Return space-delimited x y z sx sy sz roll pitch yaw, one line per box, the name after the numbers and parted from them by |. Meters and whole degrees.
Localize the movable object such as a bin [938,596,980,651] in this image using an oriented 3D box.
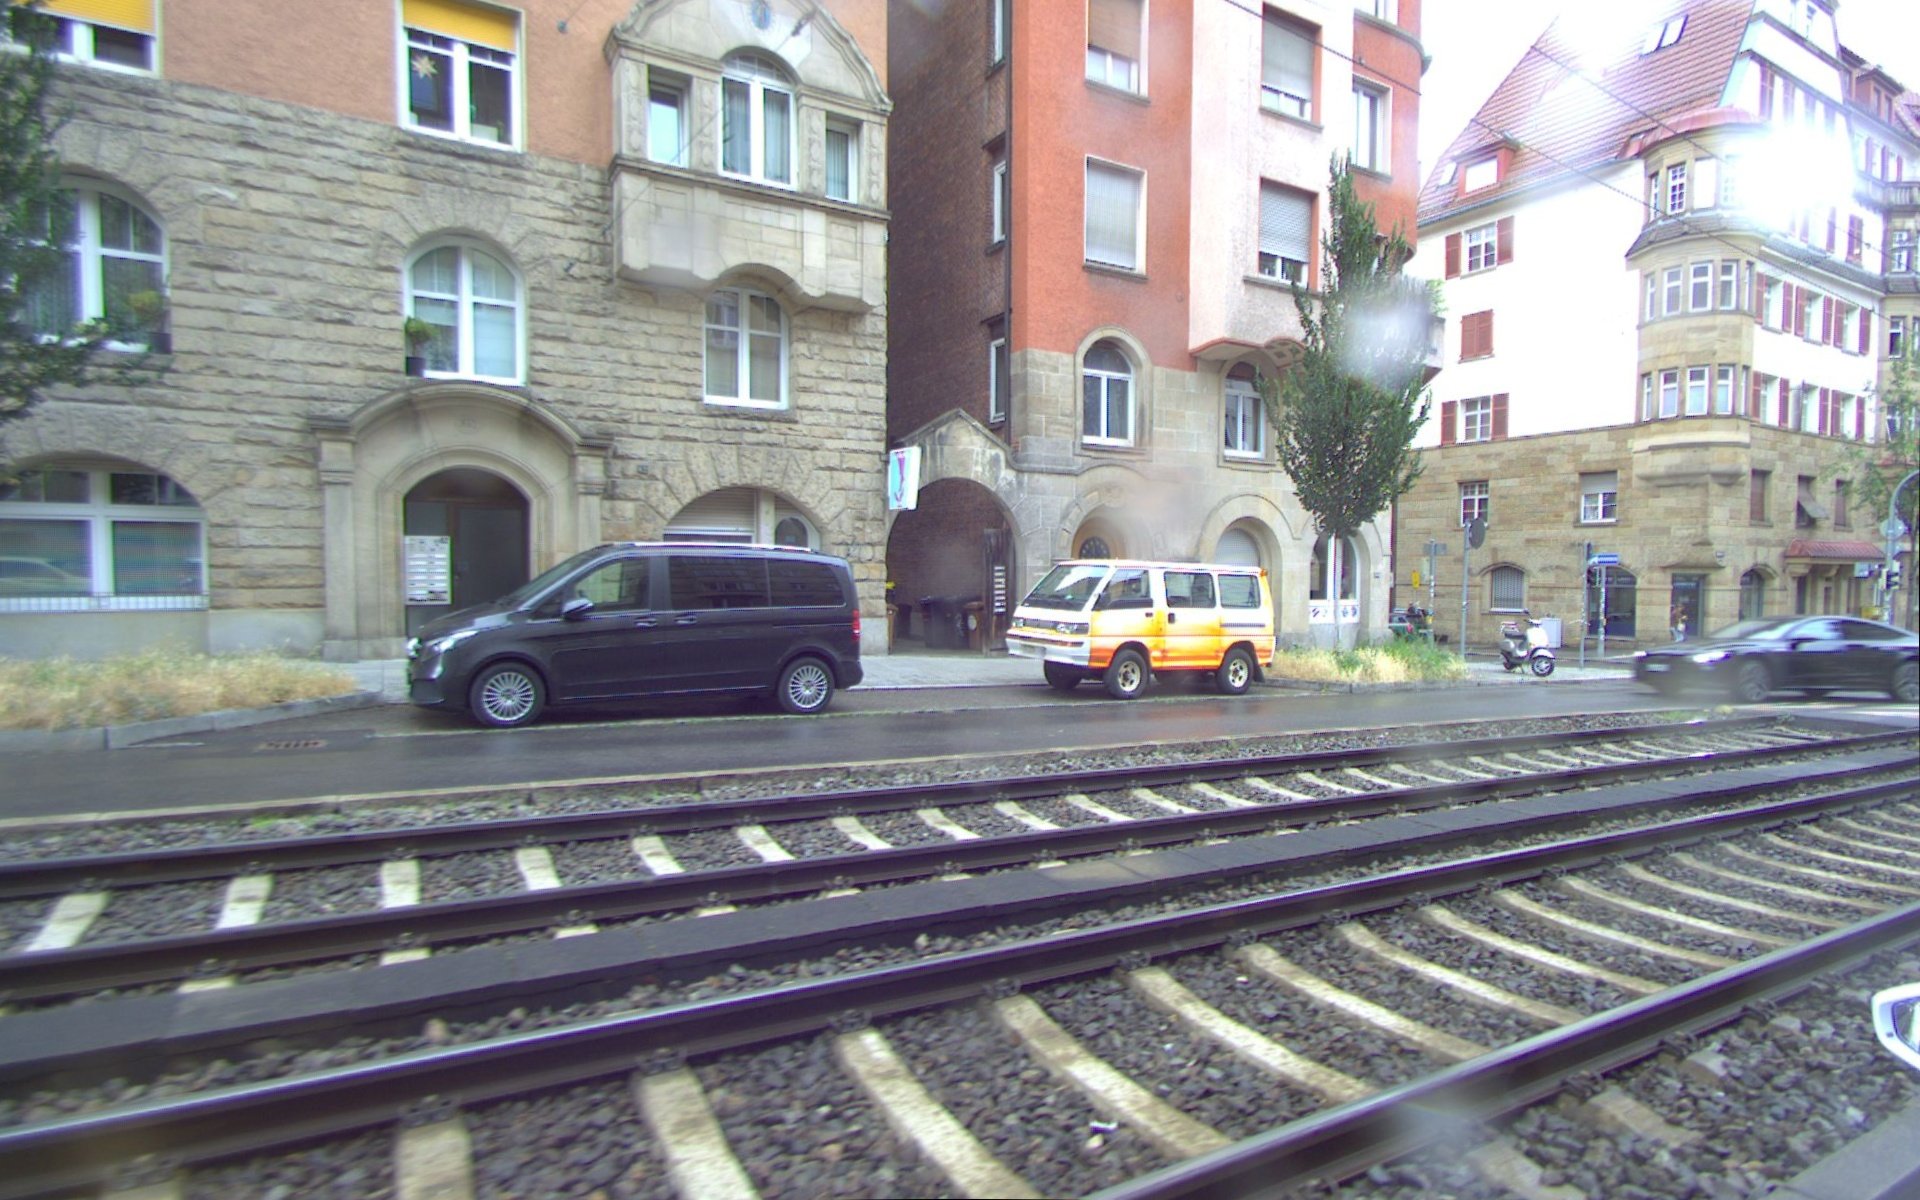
-0.024 0.467 20.033 0.607 1.090 0.679 1 -1 -27 | movable object such as a bin

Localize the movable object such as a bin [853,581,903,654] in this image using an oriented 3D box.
-1.585 0.328 19.359 0.648 1.360 0.903 1 1 -26 | movable object such as a bin

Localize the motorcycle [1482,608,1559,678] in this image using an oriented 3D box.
11.628 0.860 20.886 0.612 1.384 1.596 2 0 -3 | motorcycle

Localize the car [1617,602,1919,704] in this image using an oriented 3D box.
14.253 0.881 17.207 4.868 1.544 1.808 1 0 -3 | car

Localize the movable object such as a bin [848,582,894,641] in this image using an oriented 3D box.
-2.086 0.263 23.552 0.676 1.324 1.154 1 1 -26 | movable object such as a bin

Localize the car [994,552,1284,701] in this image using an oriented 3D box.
2.794 0.405 15.331 4.295 2.001 1.721 2 0 -32 | car

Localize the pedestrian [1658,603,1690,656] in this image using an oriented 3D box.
23.456 0.951 32.998 0.689 1.695 0.633 2 0 22 | pedestrian

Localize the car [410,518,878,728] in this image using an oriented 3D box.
-3.535 0.280 11.491 4.769 1.968 1.984 2 0 -30 | car

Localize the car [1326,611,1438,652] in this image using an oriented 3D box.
15.996 1.180 38.226 1.683 1.423 3.618 2 0 -34 | car

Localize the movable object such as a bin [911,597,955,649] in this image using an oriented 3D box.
-0.561 0.472 20.580 0.607 1.052 0.793 1 -1 -27 | movable object such as a bin

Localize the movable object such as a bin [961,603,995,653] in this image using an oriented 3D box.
0.348 0.543 19.525 0.442 0.957 0.557 1 -1 -27 | movable object such as a bin

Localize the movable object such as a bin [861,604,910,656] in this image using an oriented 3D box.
-1.371 0.550 18.486 0.627 0.918 0.793 1 1 -27 | movable object such as a bin
